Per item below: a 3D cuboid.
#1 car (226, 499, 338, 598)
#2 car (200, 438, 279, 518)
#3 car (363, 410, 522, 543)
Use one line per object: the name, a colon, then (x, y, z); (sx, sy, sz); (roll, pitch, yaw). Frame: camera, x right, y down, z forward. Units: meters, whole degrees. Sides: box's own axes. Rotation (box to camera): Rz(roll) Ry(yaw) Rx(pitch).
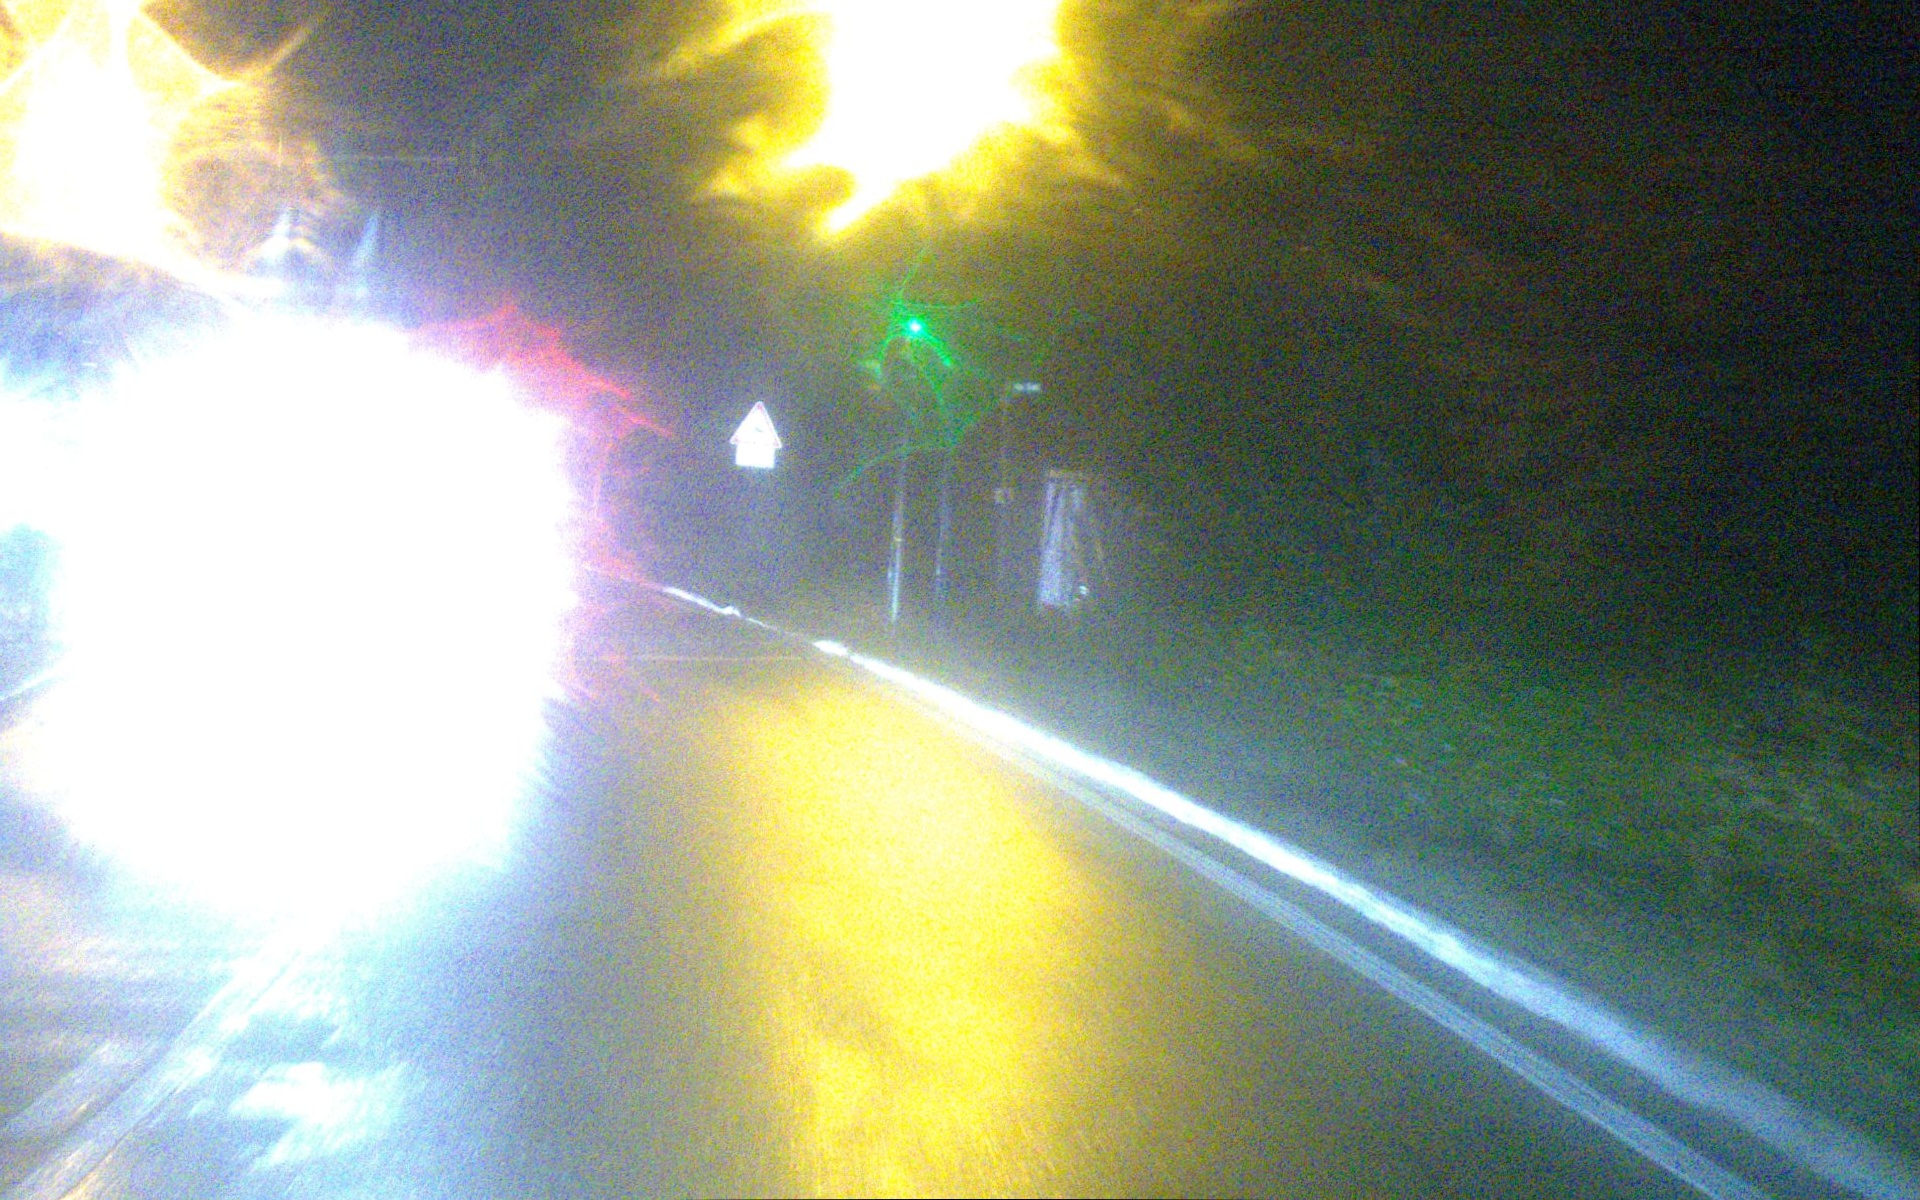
car: (-11.002, -0.846, 55.983); (1.635, 1.505, 4.118); (-2, 1, -9)
car: (-19.935, -3.352, 94.984); (1.993, 2.007, 4.001); (2, 0, -13)
car: (-10.381, -2.511, 68.562); (2.538, 2.489, 5.717); (0, 3, -15)
